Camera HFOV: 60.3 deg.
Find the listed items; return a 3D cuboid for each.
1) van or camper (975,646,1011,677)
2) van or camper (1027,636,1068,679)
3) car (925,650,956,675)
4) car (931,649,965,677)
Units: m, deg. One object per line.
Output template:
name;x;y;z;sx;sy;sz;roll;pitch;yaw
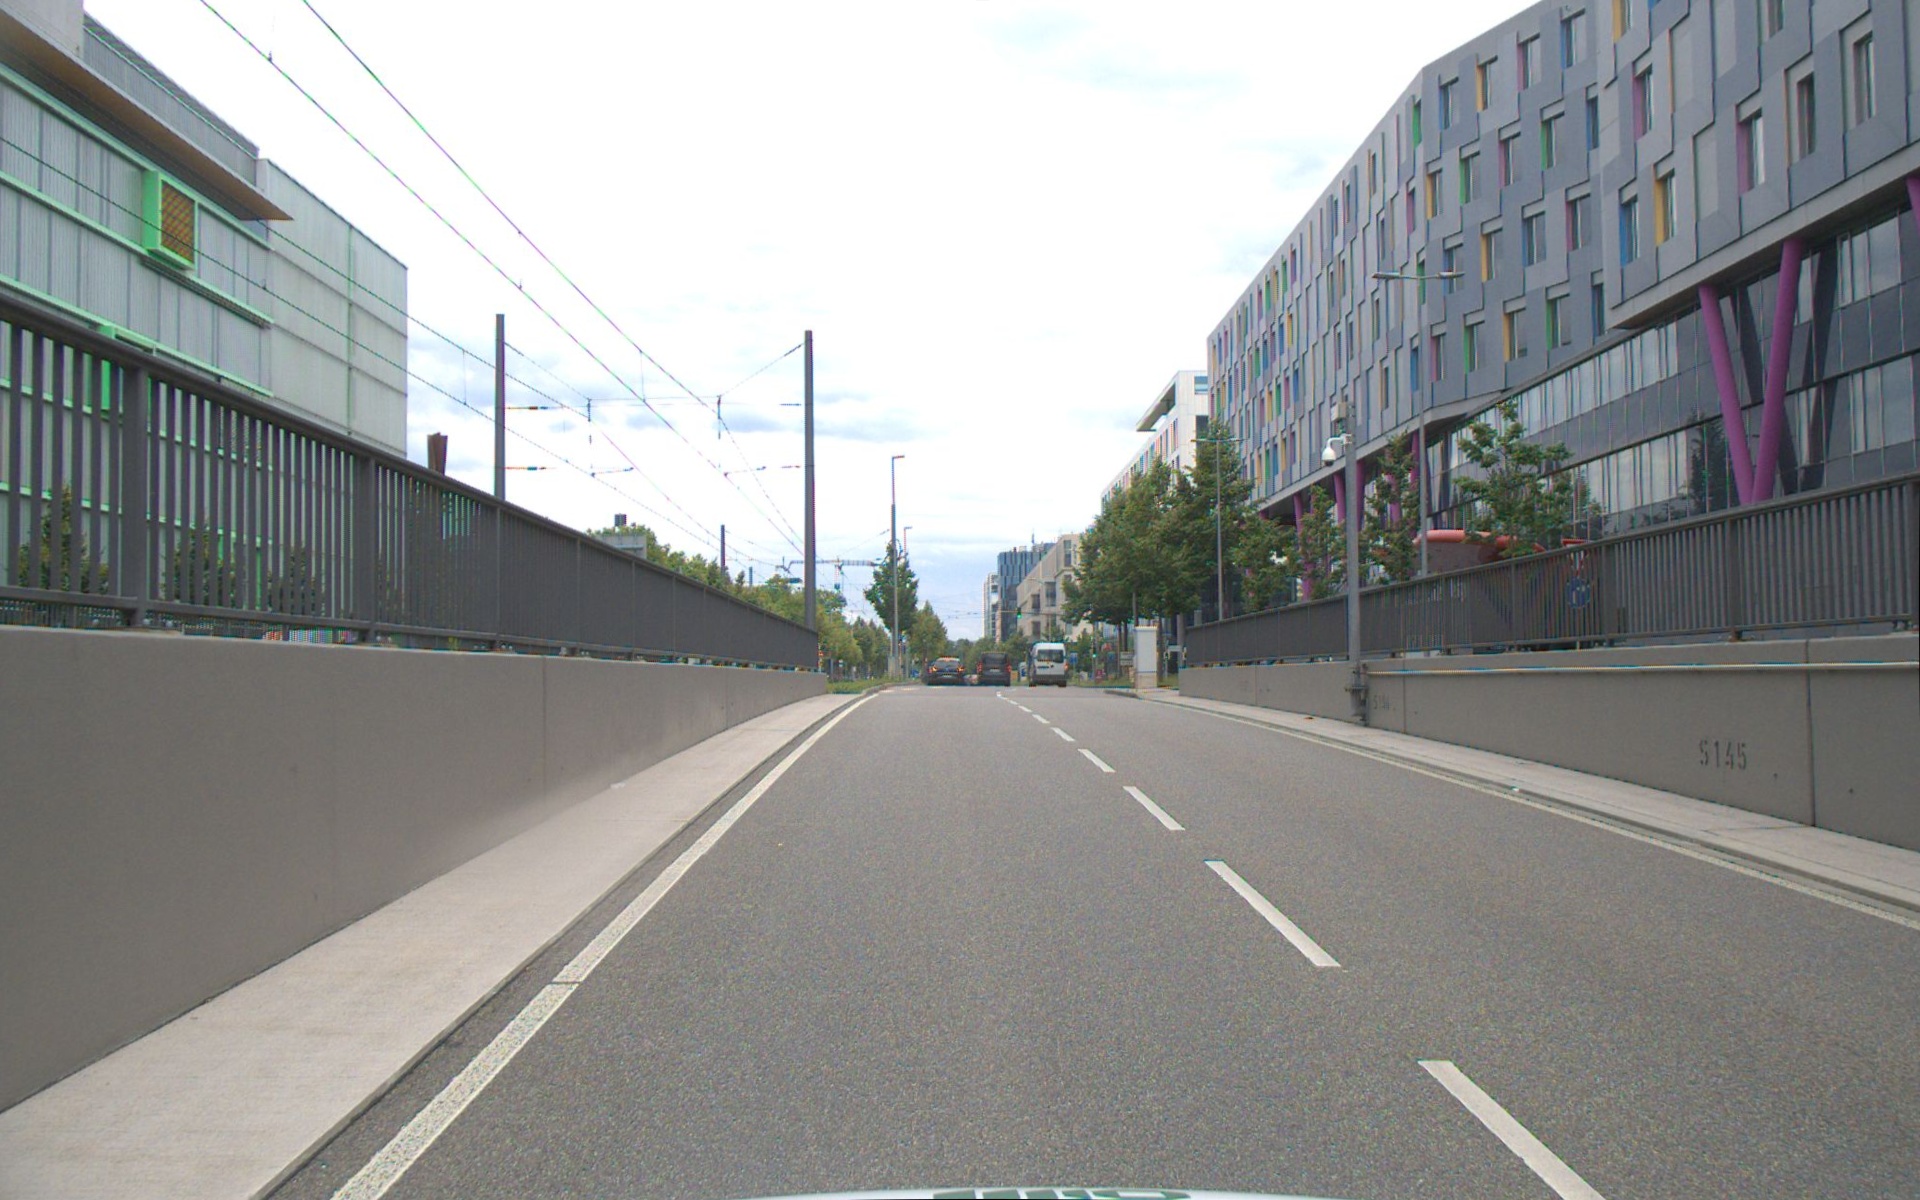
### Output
van or camper;1.818;3.433;92.862;1.953;1.644;4.788;0;-2;0
van or camper;4.977;3.247;94.327;2.066;2.397;4.922;0;-1;0
car;-1.307;4.330;114.322;1.952;1.711;4.000;1;-3;2
car;-0.668;3.427;88.978;1.708;1.442;3.998;1;-3;-1
